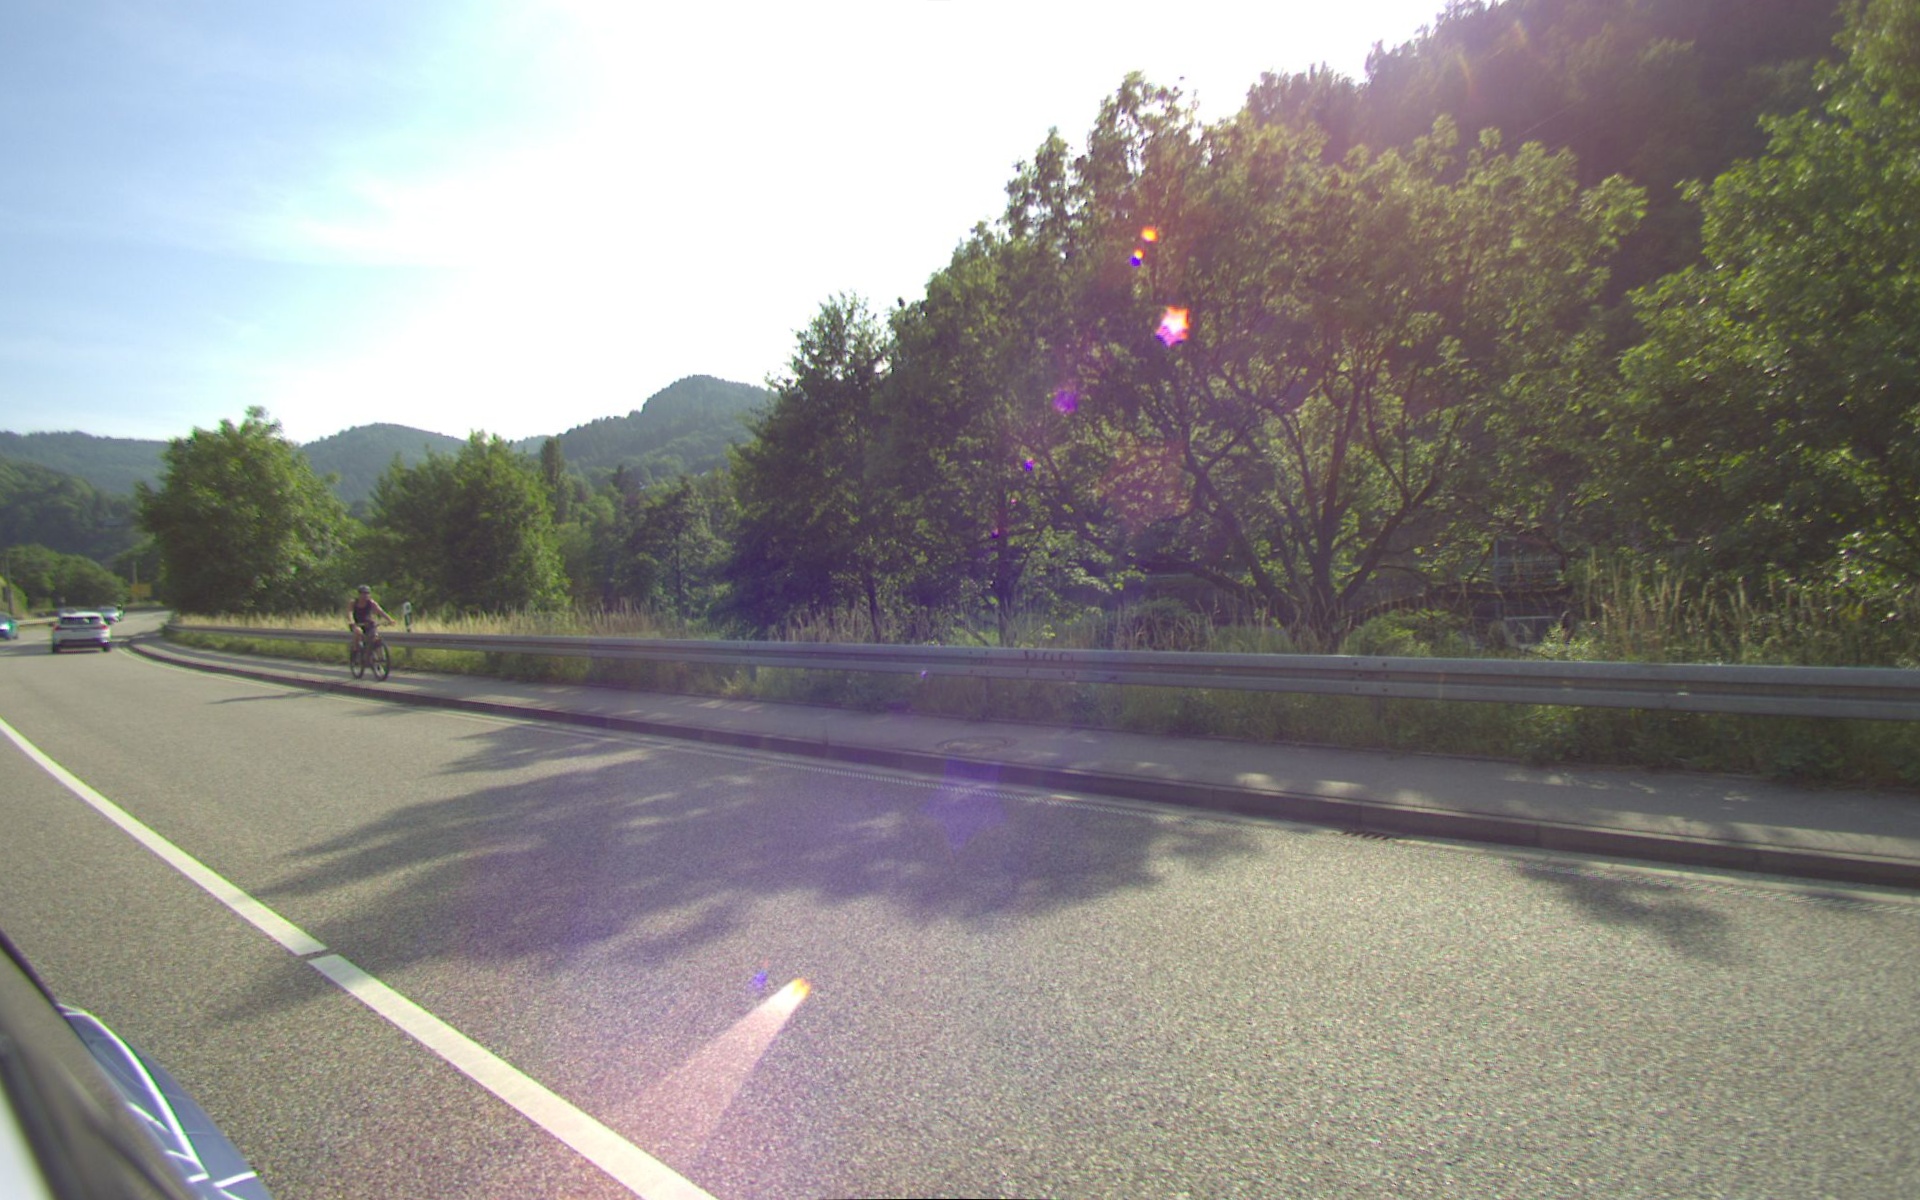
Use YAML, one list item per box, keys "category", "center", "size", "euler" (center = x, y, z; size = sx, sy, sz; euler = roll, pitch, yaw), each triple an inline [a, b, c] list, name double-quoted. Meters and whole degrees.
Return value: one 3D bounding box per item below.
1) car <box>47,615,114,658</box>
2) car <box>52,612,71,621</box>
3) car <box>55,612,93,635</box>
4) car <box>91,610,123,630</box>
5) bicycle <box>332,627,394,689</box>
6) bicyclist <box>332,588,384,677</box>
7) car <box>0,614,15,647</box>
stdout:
- category: "car"
  center: [-35.574, 1.428, 40.956]
  size: [1.969, 1.642, 4.006]
  euler: [0, 0, -41]
- category: "car"
  center: [-157.276, 2.888, 177.154]
  size: [3.991, 1.490, 1.564]
  euler: [-2, -1, 35]
- category: "car"
  center: [-70.256, 1.839, 80.311]
  size: [1.855, 1.758, 4.188]
  euler: [-2, 0, -36]
- category: "car"
  center: [-81.561, 1.919, 96.806]
  size: [1.855, 1.758, 4.190]
  euler: [-2, 0, -33]
- category: "bicycle"
  center: [-11.342, 1.069, 19.192]
  size: [0.551, 1.053, 2.232]
  euler: [-7, 3, -41]
- category: "bicyclist"
  center: [-11.477, 0.609, 19.286]
  size: [0.551, 1.598, 1.037]
  euler: [-7, 3, -41]
- category: "car"
  center: [-53.946, 1.689, 56.148]
  size: [1.856, 1.758, 4.187]
  euler: [-1, 0, -38]
